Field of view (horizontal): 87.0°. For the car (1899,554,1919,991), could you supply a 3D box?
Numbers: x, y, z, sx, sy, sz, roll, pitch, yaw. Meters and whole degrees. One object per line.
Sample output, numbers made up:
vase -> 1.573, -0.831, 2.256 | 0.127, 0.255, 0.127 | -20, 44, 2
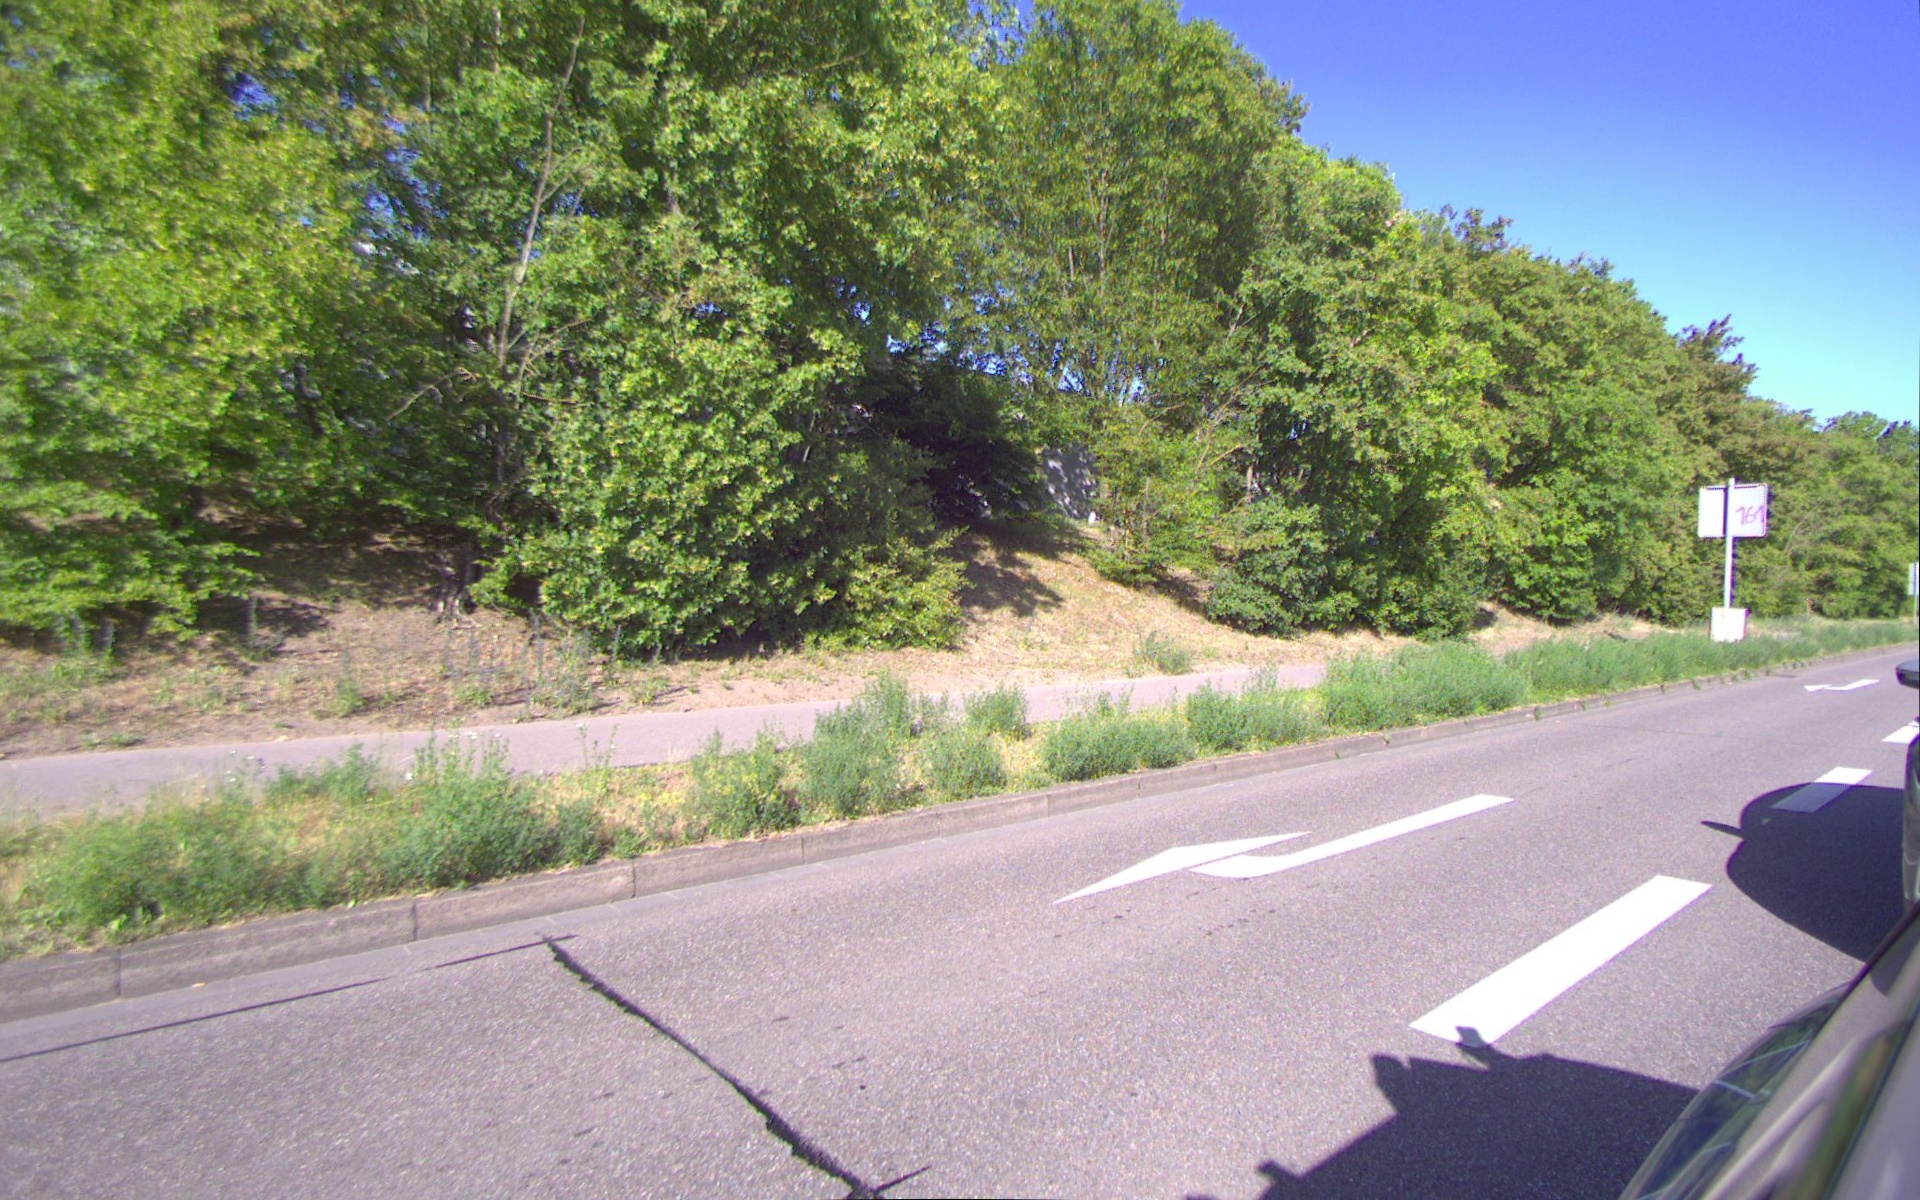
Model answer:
car -> 5.584, 0.652, 4.345 | 3.863, 1.617, 1.869 | 0, 0, -41
